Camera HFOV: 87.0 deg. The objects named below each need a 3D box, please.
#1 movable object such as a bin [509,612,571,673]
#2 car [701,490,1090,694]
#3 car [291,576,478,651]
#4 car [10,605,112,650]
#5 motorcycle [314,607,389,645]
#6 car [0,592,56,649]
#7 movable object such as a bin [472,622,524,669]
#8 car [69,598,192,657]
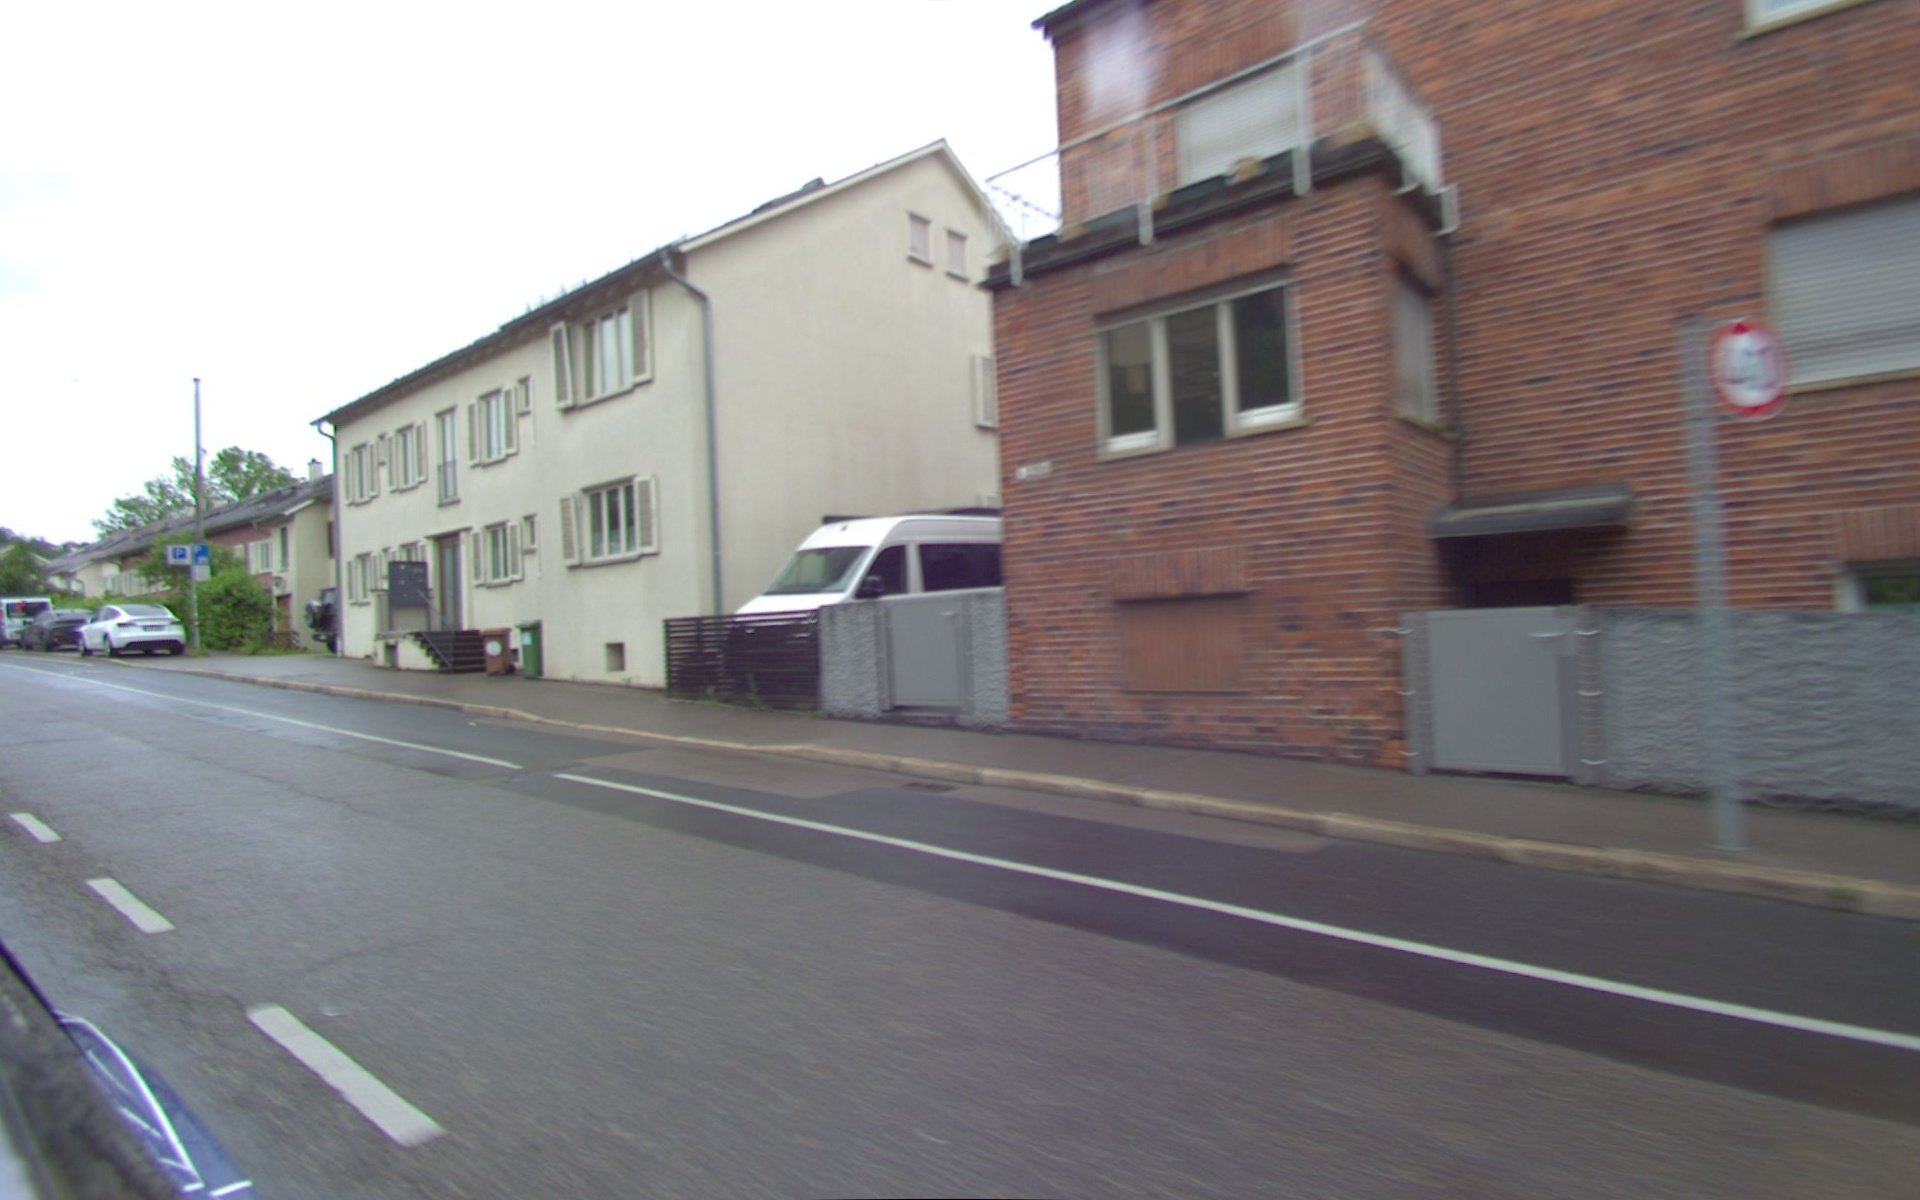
[{"bbox_3d":[-7.770,0.764,18.713,0.738,1.054,0.774,-1,2,40],"label":"movable object such as a bin"},{"bbox_3d":[-0.672,-0.226,16.002,2.166,2.572,6.586,1,3,40],"label":"car"},{"bbox_3d":[-17.078,0.349,30.249,1.885,2.029,4.447,-2,0,37],"label":"car"},{"bbox_3d":[-32.841,0.978,36.943,4.513,1.487,1.792,-1,2,36],"label":"car"},{"bbox_3d":[-20.985,0.878,34.937,0.840,1.143,2.070,2,3,43],"label":"motorcycle"},{"bbox_3d":[-38.123,0.817,40.253,5.004,2.094,1.834,-1,2,32],"label":"car"},{"bbox_3d":[-9.069,0.888,19.882,0.708,0.866,0.666,-1,2,40],"label":"movable object such as a bin"},{"bbox_3d":[-26.319,0.824,32.061,4.669,1.643,1.912,0,2,37],"label":"car"}]
